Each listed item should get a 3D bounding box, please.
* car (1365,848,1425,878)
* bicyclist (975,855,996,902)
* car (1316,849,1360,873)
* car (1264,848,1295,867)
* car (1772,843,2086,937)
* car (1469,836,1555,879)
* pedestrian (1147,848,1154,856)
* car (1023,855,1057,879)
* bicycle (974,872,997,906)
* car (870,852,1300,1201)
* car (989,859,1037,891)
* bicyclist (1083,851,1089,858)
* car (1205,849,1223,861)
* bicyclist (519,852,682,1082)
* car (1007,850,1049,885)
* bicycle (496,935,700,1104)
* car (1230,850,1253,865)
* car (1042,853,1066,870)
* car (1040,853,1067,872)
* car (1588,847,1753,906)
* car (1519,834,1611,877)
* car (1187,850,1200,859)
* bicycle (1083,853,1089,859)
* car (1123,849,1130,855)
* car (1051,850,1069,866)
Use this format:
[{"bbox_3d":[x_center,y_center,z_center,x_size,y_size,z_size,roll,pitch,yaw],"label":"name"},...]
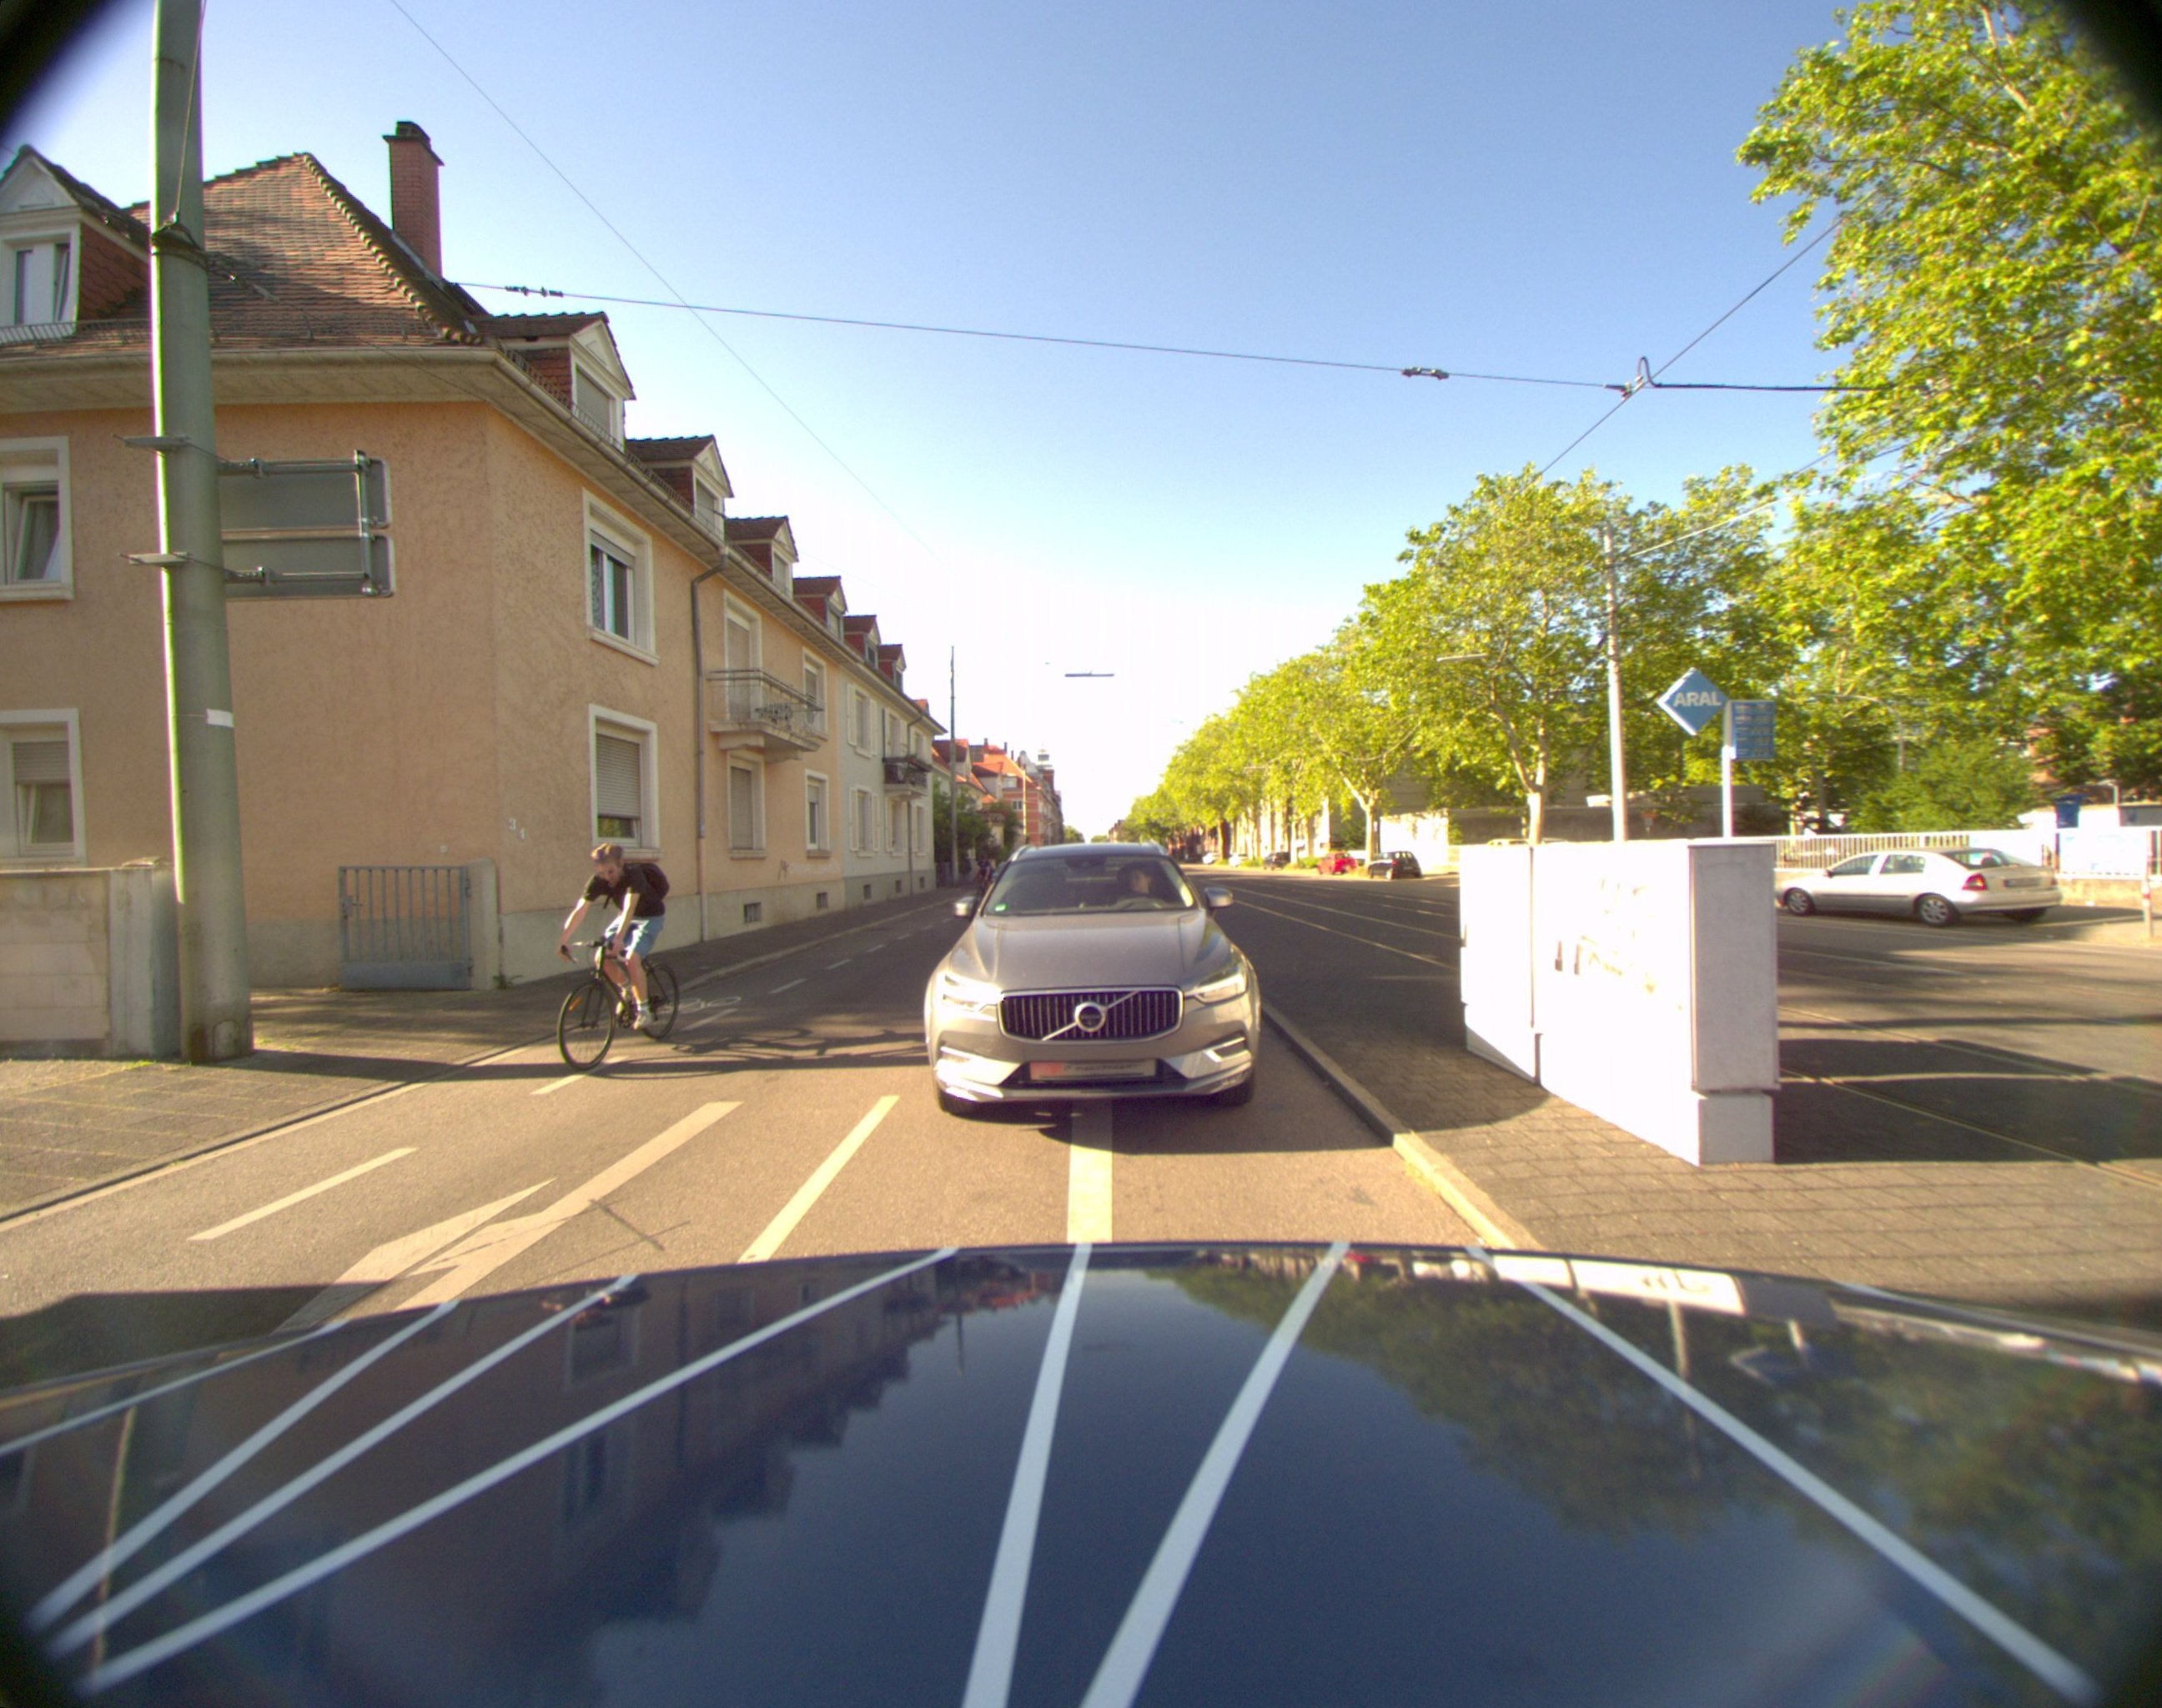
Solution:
[{"bbox_3d":[16.886,0.457,41.044,1.758,1.449,3.858,-3,0,3],"label":"car"},{"bbox_3d":[-3.329,0.841,26.491,0.562,1.607,1.016,-1,1,0],"label":"bicyclist"},{"bbox_3d":[16.898,0.450,50.186,1.717,1.421,3.858,-3,0,3],"label":"car"},{"bbox_3d":[17.166,0.292,65.917,1.758,1.536,3.858,-3,0,3],"label":"car"},{"bbox_3d":[16.233,0.607,14.909,1.847,1.477,3.858,-4,0,2],"label":"car"},{"bbox_3d":[21.806,0.167,38.643,1.999,2.002,3.999,-1,0,-1],"label":"car"},{"bbox_3d":[19.581,-0.547,213.139,1.686,2.002,1.761,-1,1,1],"label":"pedestrian"},{"bbox_3d":[-2.584,0.812,48.499,1.867,1.399,4.078,-1,0,1],"label":"car"},{"bbox_3d":[-3.314,1.199,26.428,0.550,1.056,1.794,-1,1,0],"label":"bicycle"},{"bbox_3d":[0.052,0.814,5.932,1.998,1.609,4.697,-1,0,1],"label":"car"},{"bbox_3d":[-3.242,0.962,37.077,1.867,1.399,4.424,-1,0,1],"label":"car"},{"bbox_3d":[1.001,0.088,154.660,1.054,1.496,1.250,-1,1,1],"label":"bicyclist"},{"bbox_3d":[17.663,0.162,100.939,1.758,1.475,3.858,-3,0,3],"label":"car"},{"bbox_3d":[-3.921,0.858,6.295,0.561,1.721,1.084,-2,1,1],"label":"bicyclist"},{"bbox_3d":[-2.919,0.700,42.832,1.867,1.778,5.297,-1,0,1],"label":"car"},{"bbox_3d":[-3.917,1.288,6.350,0.533,1.011,1.758,-1,0,1],"label":"bicycle"},{"bbox_3d":[17.571,0.354,83.345,1.758,1.475,3.858,-3,0,3],"label":"car"},{"bbox_3d":[-2.360,0.619,66.363,1.867,1.399,4.078,-1,0,1],"label":"car"},{"bbox_3d":[-2.139,0.665,60.058,1.867,1.399,4.078,-1,0,1],"label":"car"},{"bbox_3d":[16.473,0.568,21.517,1.745,1.389,3.858,-4,0,3],"label":"car"},{"bbox_3d":[24.154,0.078,38.102,1.999,2.002,3.999,-1,0,-1],"label":"car"},{"bbox_3d":[18.498,0.056,125.295,1.758,1.475,3.858,-3,0,3],"label":"car"},{"bbox_3d":[1.016,0.364,154.715,1.054,1.262,3.914,-1,0,1],"label":"bicycle"},{"bbox_3d":[15.225,-0.664,253.399,1.998,1.685,4.000,-1,0,1],"label":"car"},{"bbox_3d":[-2.332,0.430,85.452,1.867,1.653,4.078,-1,0,1],"label":"car"}]
